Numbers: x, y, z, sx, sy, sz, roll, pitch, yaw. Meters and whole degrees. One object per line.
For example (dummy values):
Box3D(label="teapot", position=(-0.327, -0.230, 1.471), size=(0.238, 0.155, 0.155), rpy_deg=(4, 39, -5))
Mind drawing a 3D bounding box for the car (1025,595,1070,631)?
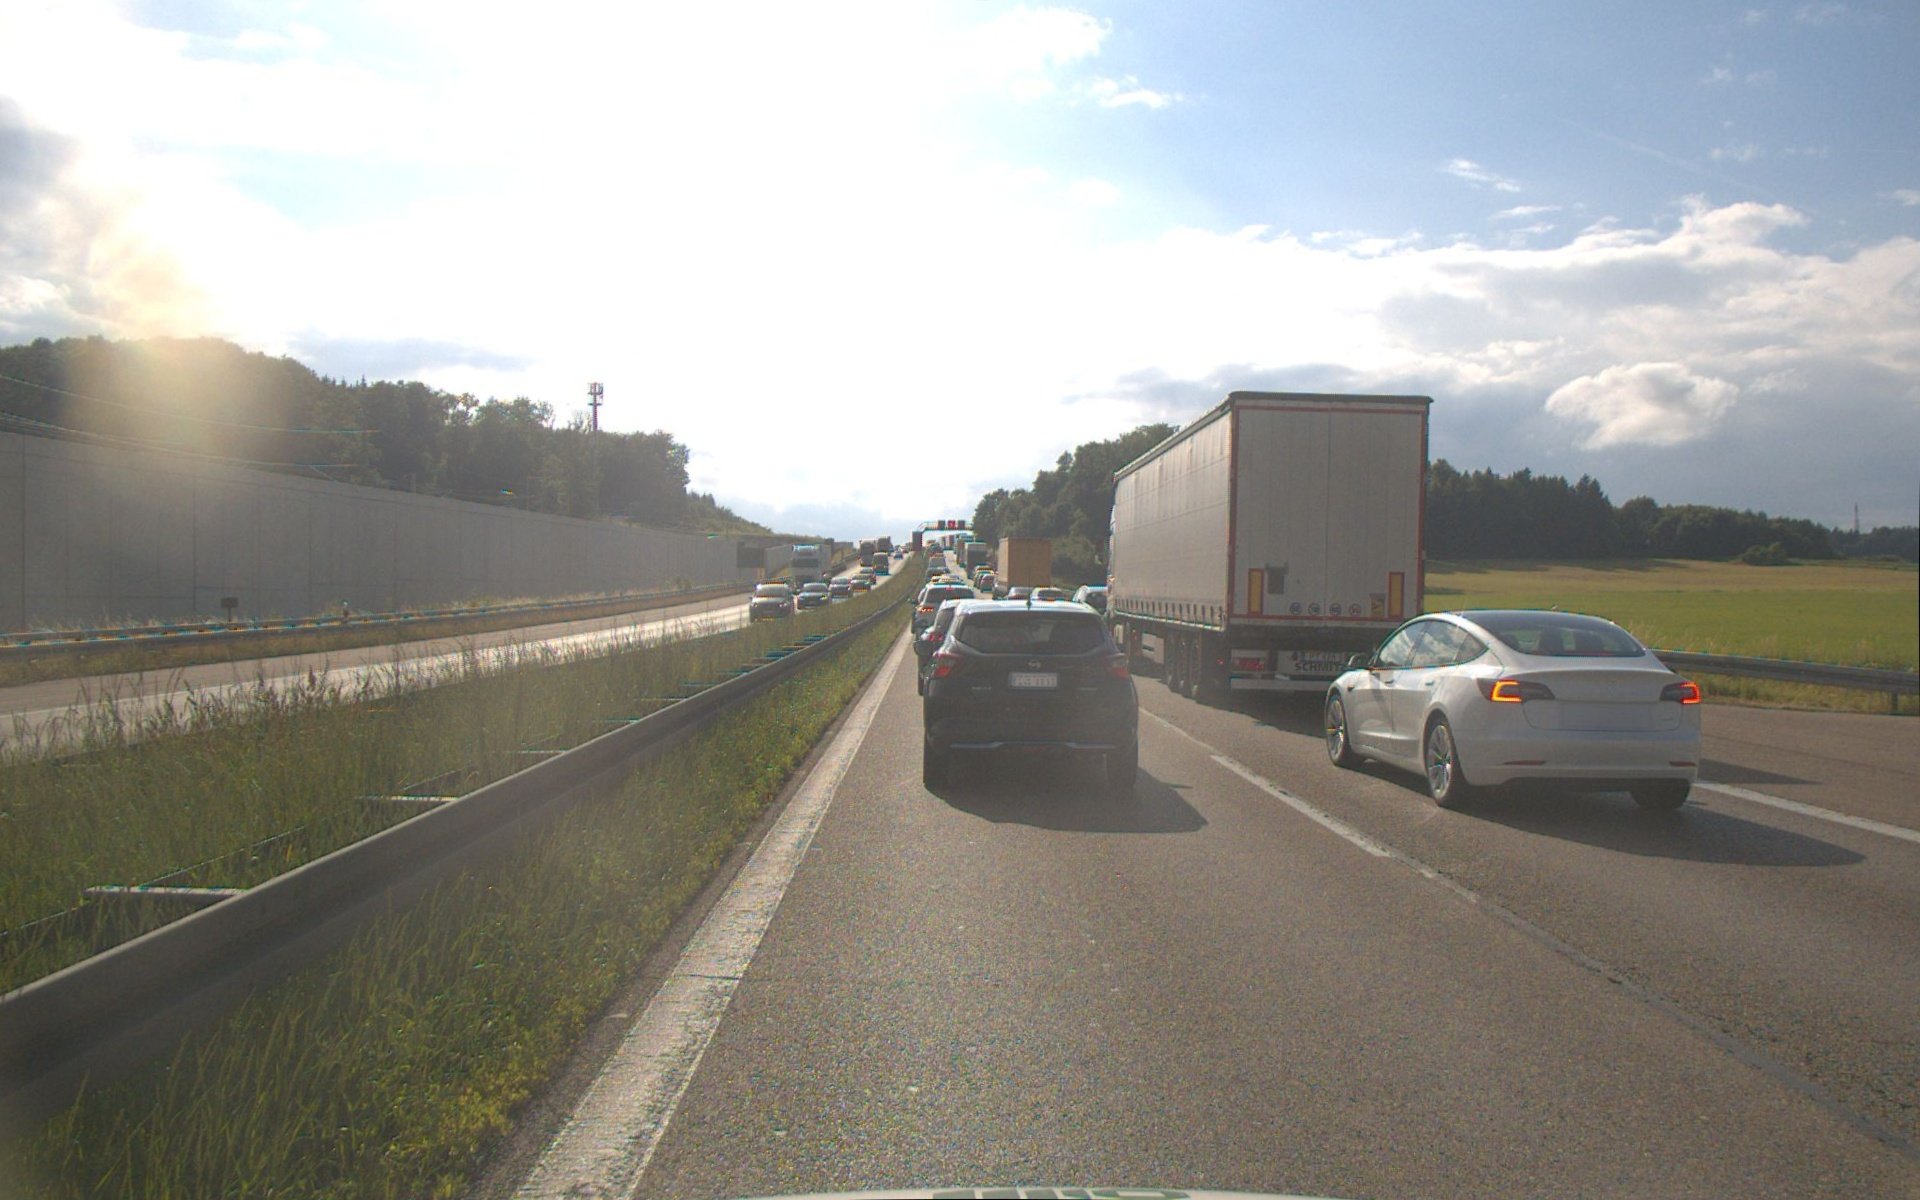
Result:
Box3D(label="car", position=(4.083, 0.599, 77.743), size=(1.835, 1.673, 4.231), rpy_deg=(0, 0, -1))

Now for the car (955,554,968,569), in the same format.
Box3D(label="car", position=(0.205, -5.926, 255.242), size=(1.835, 2.196, 5.211), rpy_deg=(0, 3, -1))

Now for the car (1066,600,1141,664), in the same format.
Box3D(label="car", position=(3.828, 0.834, 44.640), size=(1.663, 1.639, 4.436), rpy_deg=(0, 0, 0))

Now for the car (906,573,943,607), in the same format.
Box3D(label="car", position=(-1.769, -0.538, 83.658), size=(1.835, 1.673, 4.232), rpy_deg=(0, 1, -1))

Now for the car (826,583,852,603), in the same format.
Box3D(label="car", position=(-9.279, -0.496, 126.797), size=(1.733, 1.505, 3.828), rpy_deg=(0, 0, 0))

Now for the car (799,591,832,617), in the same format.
Box3D(label="car", position=(-8.550, 0.246, 98.296), size=(1.663, 1.525, 4.426), rpy_deg=(0, 0, -1))

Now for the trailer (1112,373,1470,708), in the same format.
Box3D(label="trailer", position=(4.694, -0.631, 27.024), size=(3.067, 4.081, 13.364), rpy_deg=(1, -1, 0))

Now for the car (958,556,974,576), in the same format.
Box3D(label="car", position=(0.746, -4.144, 200.206), size=(1.835, 2.196, 5.211), rpy_deg=(0, 3, -1))

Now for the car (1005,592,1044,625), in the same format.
Box3D(label="car", position=(3.378, 0.446, 87.147), size=(1.835, 1.673, 4.232), rpy_deg=(0, 1, -1))

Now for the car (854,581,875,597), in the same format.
Box3D(label="car", position=(-8.465, -0.963, 147.015), size=(1.706, 1.381, 4.231), rpy_deg=(0, 0, -1))

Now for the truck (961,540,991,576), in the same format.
Box3D(label="truck", position=(2.107, -5.719, 225.725), size=(3.394, 4.656, 12.437), rpy_deg=(1, 1, -2))

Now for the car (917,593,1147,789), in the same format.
Box3D(label="car", position=(0.524, 0.692, 14.599), size=(1.737, 1.476, 4.231), rpy_deg=(0, 0, -1))

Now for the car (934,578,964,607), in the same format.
Box3D(label="car", position=(-0.690, -0.493, 102.488), size=(1.835, 1.673, 4.232), rpy_deg=(0, 2, -1))

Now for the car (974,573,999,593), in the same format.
Box3D(label="car", position=(2.302, -1.467, 143.045), size=(1.836, 1.673, 4.229), rpy_deg=(0, 2, -4))

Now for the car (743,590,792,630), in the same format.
Box3D(label="car", position=(-8.660, 0.448, 74.706), size=(1.744, 1.767, 4.101), rpy_deg=(0, 0, -1))

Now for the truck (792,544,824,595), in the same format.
Box3D(label="truck", position=(-13.073, -2.586, 142.645), size=(2.332, 4.254, 5.931), rpy_deg=(0, 0, -1))

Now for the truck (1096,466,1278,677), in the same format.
Box3D(label="truck", position=(4.656, -0.530, 34.909), size=(3.069, 4.086, 5.163), rpy_deg=(1, -1, 0))

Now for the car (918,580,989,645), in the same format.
Box3D(label="car", position=(-0.180, 0.335, 44.834), size=(1.835, 1.673, 4.231), rpy_deg=(0, 0, -1))

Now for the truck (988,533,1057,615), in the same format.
Box3D(label="truck", position=(3.657, -1.430, 100.819), size=(3.230, 4.657, 12.434), rpy_deg=(1, -1, -2))

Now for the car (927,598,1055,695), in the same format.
Box3D(label="car", position=(0.423, 0.668, 25.781), size=(1.835, 1.381, 4.231), rpy_deg=(0, 0, -1))

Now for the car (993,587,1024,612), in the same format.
Box3D(label="car", position=(3.265, -0.061, 111.963), size=(1.836, 1.673, 4.230), rpy_deg=(0, 1, -3))

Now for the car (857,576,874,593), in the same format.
Box3D(label="car", position=(-10.064, -1.627, 176.182), size=(1.674, 1.736, 4.172), rpy_deg=(0, 0, -2))

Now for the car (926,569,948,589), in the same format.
Box3D(label="car", position=(-2.048, -1.857, 143.974), size=(1.835, 1.673, 4.231), rpy_deg=(0, 2, -2))

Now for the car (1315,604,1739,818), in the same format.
Box3D(label="car", position=(4.342, 0.765, 13.476), size=(1.753, 1.418, 4.434), rpy_deg=(0, 0, -3))

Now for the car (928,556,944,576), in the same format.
Box3D(label="car", position=(-2.729, -3.883, 188.065), size=(1.835, 2.196, 5.211), rpy_deg=(0, 3, -1))
